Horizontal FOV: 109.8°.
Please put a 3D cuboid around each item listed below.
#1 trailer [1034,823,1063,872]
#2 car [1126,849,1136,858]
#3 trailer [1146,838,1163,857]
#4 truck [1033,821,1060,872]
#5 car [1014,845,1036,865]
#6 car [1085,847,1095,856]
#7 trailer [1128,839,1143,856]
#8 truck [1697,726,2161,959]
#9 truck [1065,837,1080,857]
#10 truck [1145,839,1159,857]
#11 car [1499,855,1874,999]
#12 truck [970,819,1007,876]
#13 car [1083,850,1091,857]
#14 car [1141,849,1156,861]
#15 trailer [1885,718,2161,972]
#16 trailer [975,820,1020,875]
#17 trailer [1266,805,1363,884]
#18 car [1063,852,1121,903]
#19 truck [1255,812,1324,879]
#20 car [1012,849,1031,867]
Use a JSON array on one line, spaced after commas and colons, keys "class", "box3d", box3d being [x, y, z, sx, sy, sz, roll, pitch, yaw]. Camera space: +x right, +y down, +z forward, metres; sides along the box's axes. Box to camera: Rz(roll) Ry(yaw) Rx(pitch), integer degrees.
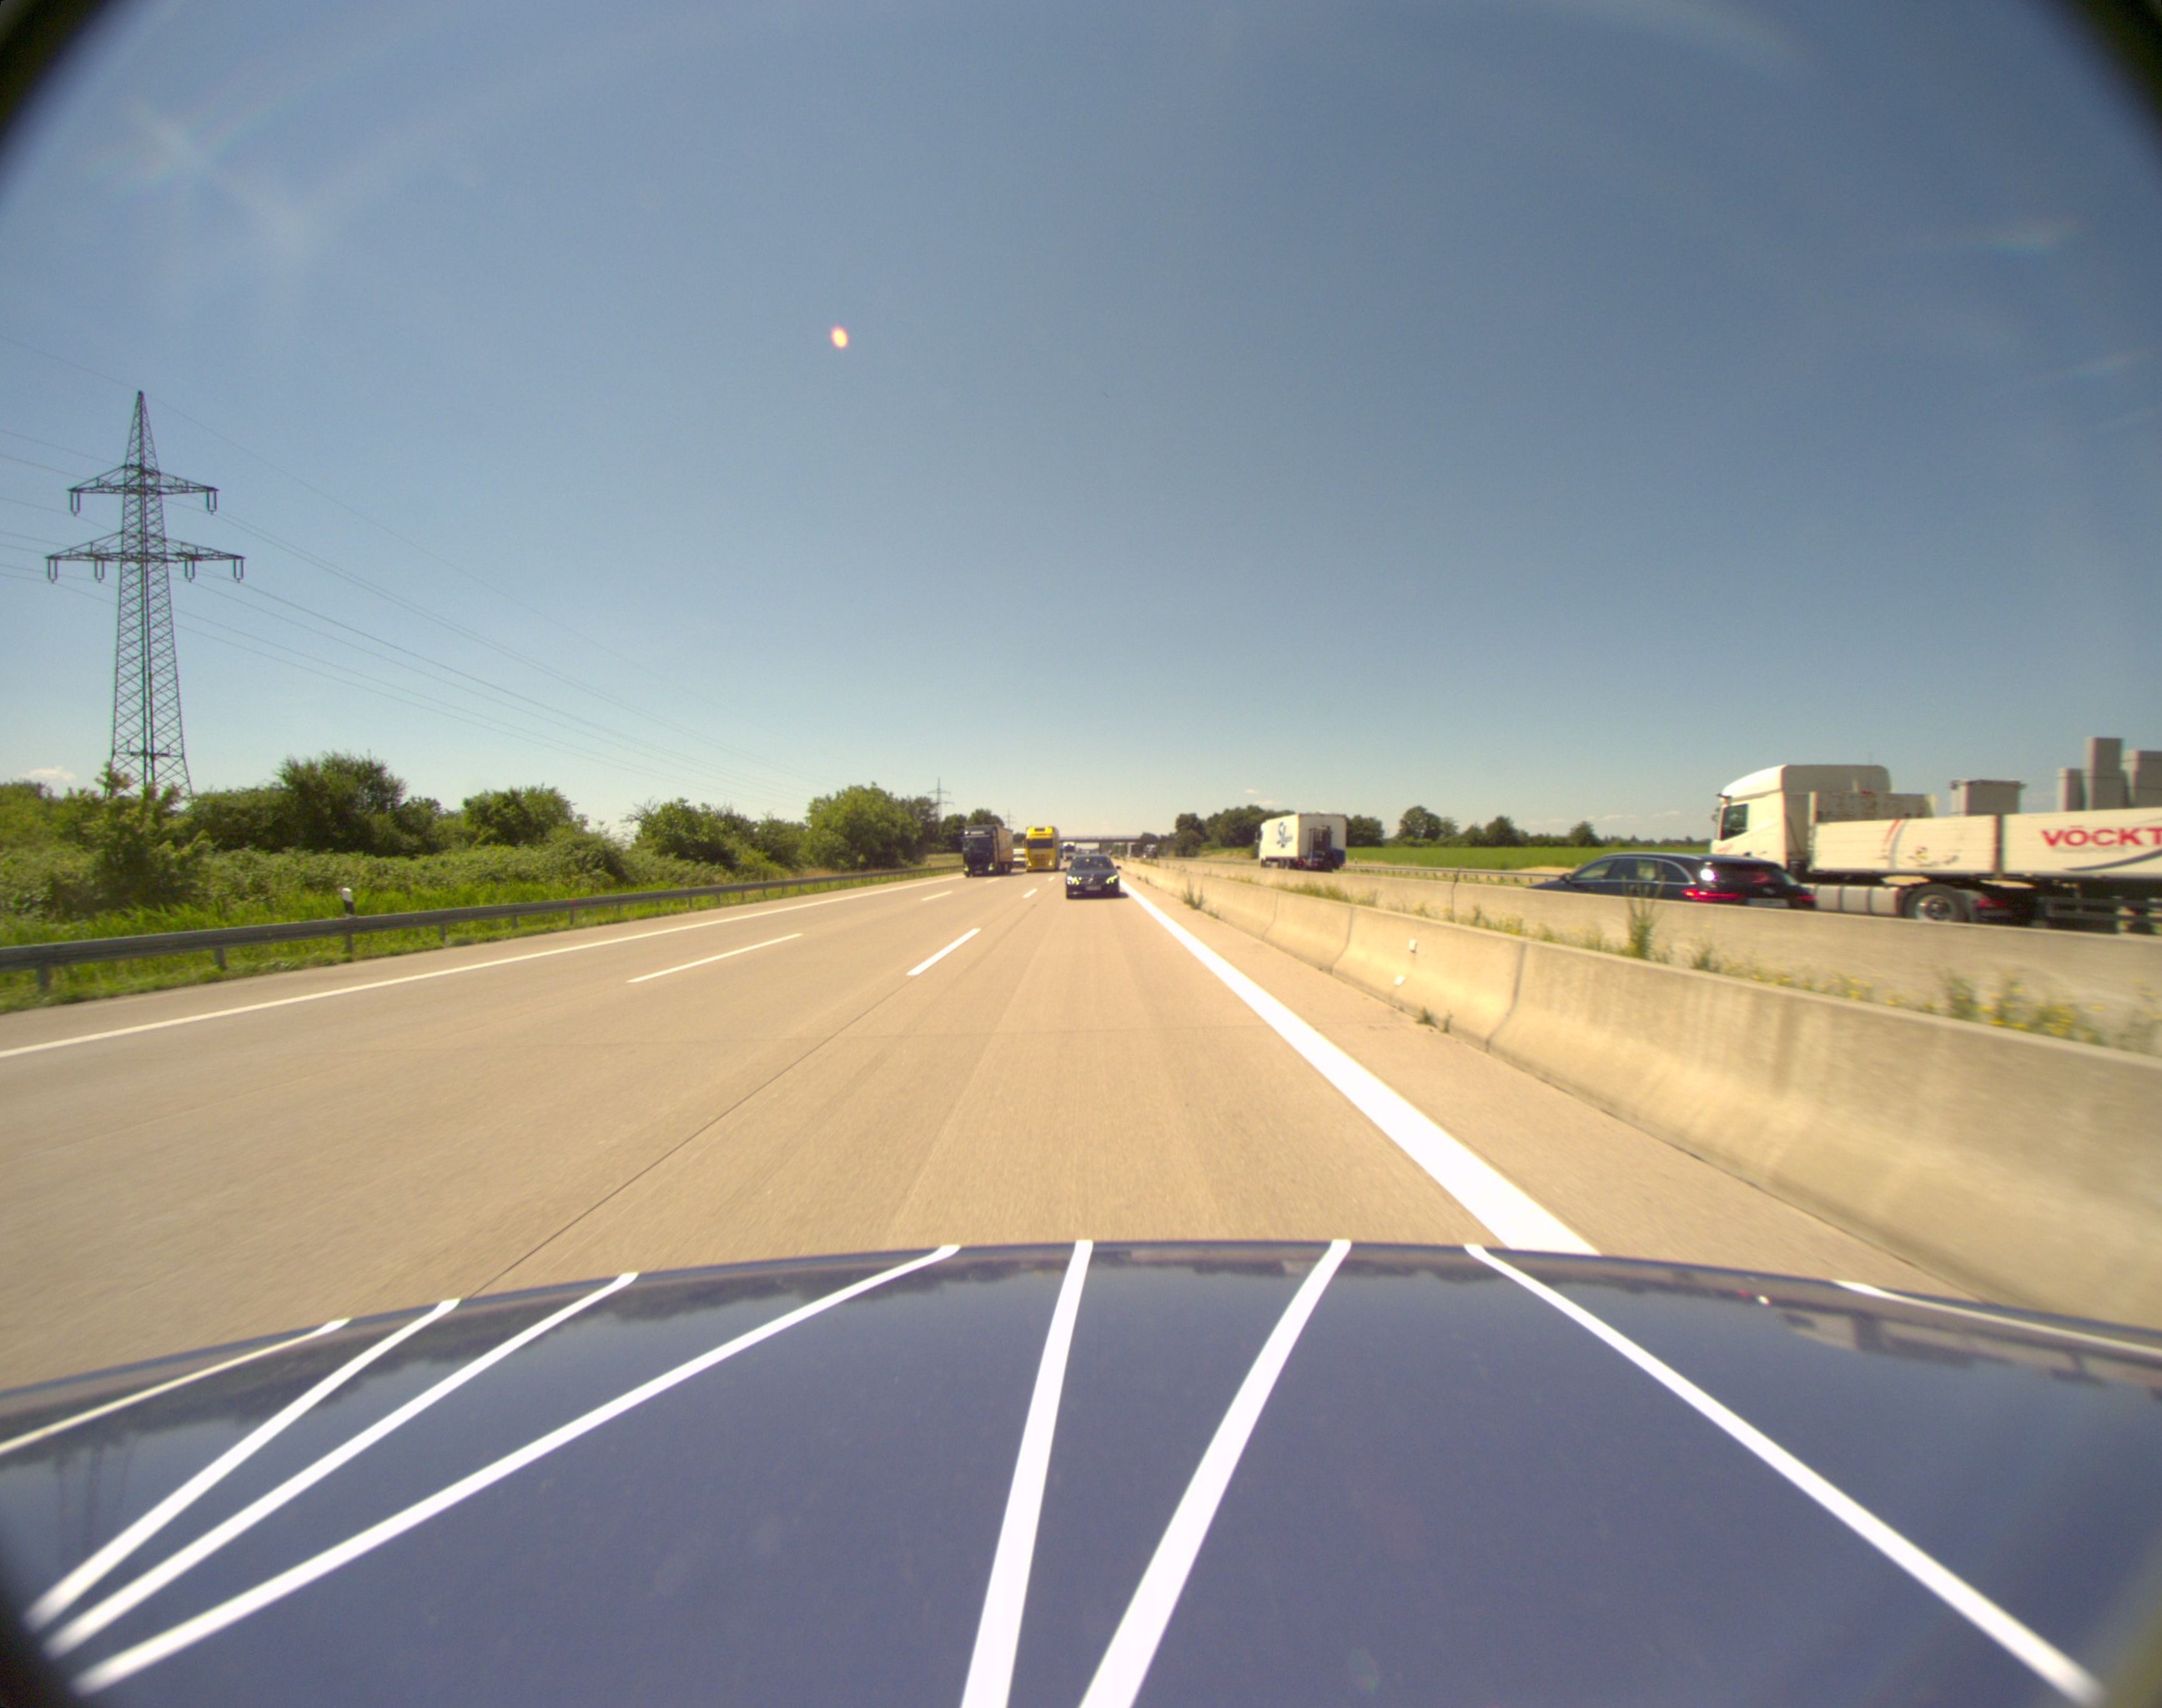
[{"class": "trailer", "box3d": [-3.013, -0.634, 74.549, 1.998, 4.230, 15.198, -2, 0, 0]}, {"class": "car", "box3d": [10.601, -0.105, 161.593, 1.887, 1.685, 4.682, -2, 0, 0]}, {"class": "trailer", "box3d": [19.257, -1.699, 200.463, 3.240, 4.580, 12.292, -2, 0, 1]}, {"class": "truck", "box3d": [-3.024, -0.660, 67.540, 1.998, 4.230, 5.194, -2, 1, 0]}, {"class": "car", "box3d": [-6.985, 0.060, 94.886, 2.139, 2.334, 5.515, -2, 0, 1]}, {"class": "car", "box3d": [1.927, -0.597, 163.353, 1.998, 1.780, 4.301, -2, 0, 1]}, {"class": "trailer", "box3d": [14.899, -1.814, 210.172, 3.276, 4.450, 14.450, 0, 0, 0]}, {"class": "truck", "box3d": [17.083, -0.223, 15.707, 2.810, 3.666, 7.235, -2, 0, 1]}, {"class": "truck", "box3d": [-1.878, -1.463, 163.189, 2.960, 4.122, 6.152, -2, 1, 1]}, {"class": "truck", "box3d": [19.291, -1.603, 206.525, 3.240, 4.580, 6.250, -2, 1, 1]}, {"class": "car", "box3d": [9.035, 0.924, 12.115, 1.998, 1.707, 5.024, -2, 0, 1]}, {"class": "truck", "box3d": [-7.163, -0.501, 59.376, 1.998, 4.168, 5.705, -2, 1, 1]}, {"class": "car", "box3d": [1.616, -0.232, 216.354, 1.999, 1.827, 4.815, -2, 0, -2]}, {"class": "car", "box3d": [9.962, 0.110, 112.038, 1.868, 1.719, 4.140, -2, 0, 2]}, {"class": "trailer", "box3d": [16.963, -0.158, 7.879, 2.810, 3.662, 13.748, -2, 0, 1]}, {"class": "trailer", "box3d": [-7.091, -0.545, 66.452, 1.998, 4.168, 14.745, -2, 0, 1]}, {"class": "trailer", "box3d": [13.077, -0.499, 43.425, 2.908, 3.947, 8.477, -2, 0, 0]}, {"class": "car", "box3d": [0.394, 0.755, 26.800, 1.848, 1.576, 3.940, -2, 0, 1]}, {"class": "truck", "box3d": [13.088, -0.536, 48.134, 2.908, 3.947, 5.045, -2, 1, 0]}, {"class": "car", "box3d": [-7.032, 0.429, 90.224, 1.788, 2.002, 3.819, -2, 0, 1]}]
